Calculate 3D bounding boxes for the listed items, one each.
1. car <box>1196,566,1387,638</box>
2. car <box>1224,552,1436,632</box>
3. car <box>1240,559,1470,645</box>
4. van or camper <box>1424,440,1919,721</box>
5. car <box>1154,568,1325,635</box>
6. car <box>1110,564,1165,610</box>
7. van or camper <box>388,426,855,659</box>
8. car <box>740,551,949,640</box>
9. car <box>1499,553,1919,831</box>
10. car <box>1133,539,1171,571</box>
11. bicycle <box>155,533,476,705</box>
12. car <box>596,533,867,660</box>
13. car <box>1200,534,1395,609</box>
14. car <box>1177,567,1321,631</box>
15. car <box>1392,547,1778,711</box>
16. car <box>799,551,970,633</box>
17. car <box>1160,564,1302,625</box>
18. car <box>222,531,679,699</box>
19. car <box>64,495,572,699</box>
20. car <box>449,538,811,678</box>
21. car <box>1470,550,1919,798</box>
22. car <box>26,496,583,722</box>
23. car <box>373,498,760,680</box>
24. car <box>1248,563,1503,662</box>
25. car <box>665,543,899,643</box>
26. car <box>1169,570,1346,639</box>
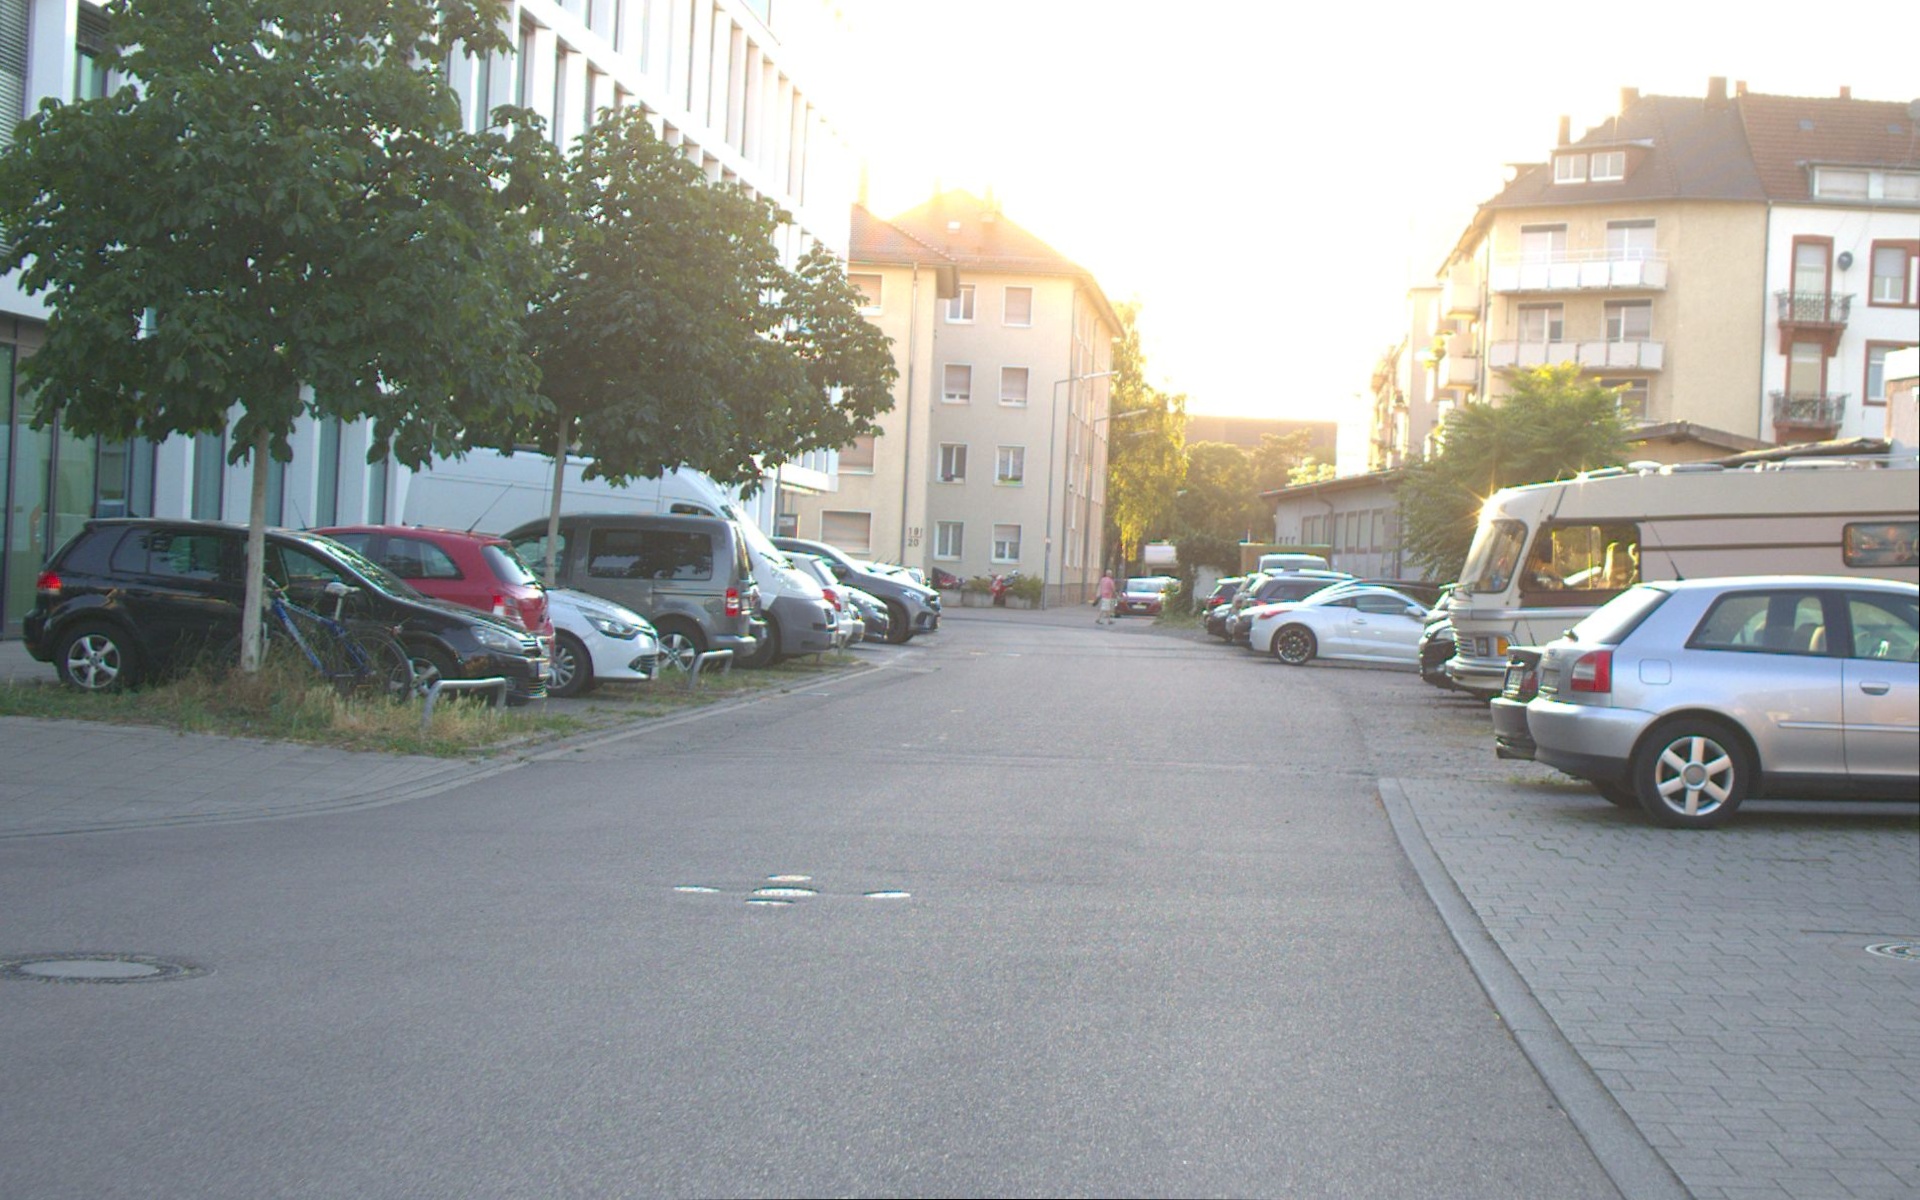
[{"bbox_3d":[7.343,0.039,76.395,4.050,1.474,1.768,1,2,0],"label":"car"},{"bbox_3d":[7.426,-0.168,69.265,4.050,1.474,1.768,1,2,0],"label":"car"},{"bbox_3d":[7.342,0.025,64.186,4.050,1.474,1.768,1,2,0],"label":"car"},{"bbox_3d":[7.886,-0.231,36.226,5.610,2.780,2.430,1,2,1],"label":"van or camper"},{"bbox_3d":[7.380,0.037,90.968,4.341,1.638,1.816,1,2,0],"label":"car"},{"bbox_3d":[6.586,-0.495,127.749,1.950,1.579,3.640,3,1,3],"label":"car"},{"bbox_3d":[-4.203,-0.736,43.161,5.453,2.475,1.775,4,2,5],"label":"van or camper"},{"bbox_3d":[-2.046,-0.093,61.355,3.560,1.474,1.458,1,2,5],"label":"car"},{"bbox_3d":[5.326,0.524,20.044,4.050,1.474,1.768,1,2,0],"label":"car"},{"bbox_3d":[9.553,-2.253,171.276,1.742,1.520,3.551,3,1,3],"label":"car"},{"bbox_3d":[-4.807,0.132,25.726,2.179,1.170,0.811,3,1,4],"label":"bicycle"},{"bbox_3d":[-3.152,-0.062,47.797,3.560,1.646,1.458,1,2,5],"label":"car"},{"bbox_3d":[7.872,-0.675,80.394,4.341,1.638,1.816,1,2,0],"label":"car"},{"bbox_3d":[7.922,-0.037,94.479,3.786,1.638,1.696,1,2,0],"label":"car"},{"bbox_3d":[7.165,0.311,39.638,3.986,1.681,1.764,2,1,-4],"label":"car"},{"bbox_3d":[-1.387,-0.163,63.674,3.015,1.416,1.458,1,2,5],"label":"car"},{"bbox_3d":[7.792,-0.178,99.073,3.905,1.638,1.710,1,2,0],"label":"car"},{"bbox_3d":[-4.865,0.122,33.141,4.050,1.474,1.767,1,2,5],"label":"car"},{"bbox_3d":[-5.678,-0.037,30.678,4.051,1.474,1.767,4,1,5],"label":"car"},{"bbox_3d":[-3.843,0.077,40.497,4.050,1.519,1.736,1,2,1],"label":"car"},{"bbox_3d":[5.501,0.464,22.429,4.050,1.474,1.768,1,2,0],"label":"car"},{"bbox_3d":[-5.233,0.040,27.769,4.050,1.474,1.768,4,2,2],"label":"car"},{"bbox_3d":[-4.312,-0.145,38.095,4.050,1.901,1.736,1,2,1],"label":"car"},{"bbox_3d":[6.765,0.191,56.323,4.050,1.474,1.767,1,2,5],"label":"car"},{"bbox_3d":[-2.836,-0.124,55.122,3.560,1.474,1.458,1,2,5],"label":"car"},{"bbox_3d":[7.591,0.109,88.080,4.341,1.638,1.816,1,2,0],"label":"car"}]
